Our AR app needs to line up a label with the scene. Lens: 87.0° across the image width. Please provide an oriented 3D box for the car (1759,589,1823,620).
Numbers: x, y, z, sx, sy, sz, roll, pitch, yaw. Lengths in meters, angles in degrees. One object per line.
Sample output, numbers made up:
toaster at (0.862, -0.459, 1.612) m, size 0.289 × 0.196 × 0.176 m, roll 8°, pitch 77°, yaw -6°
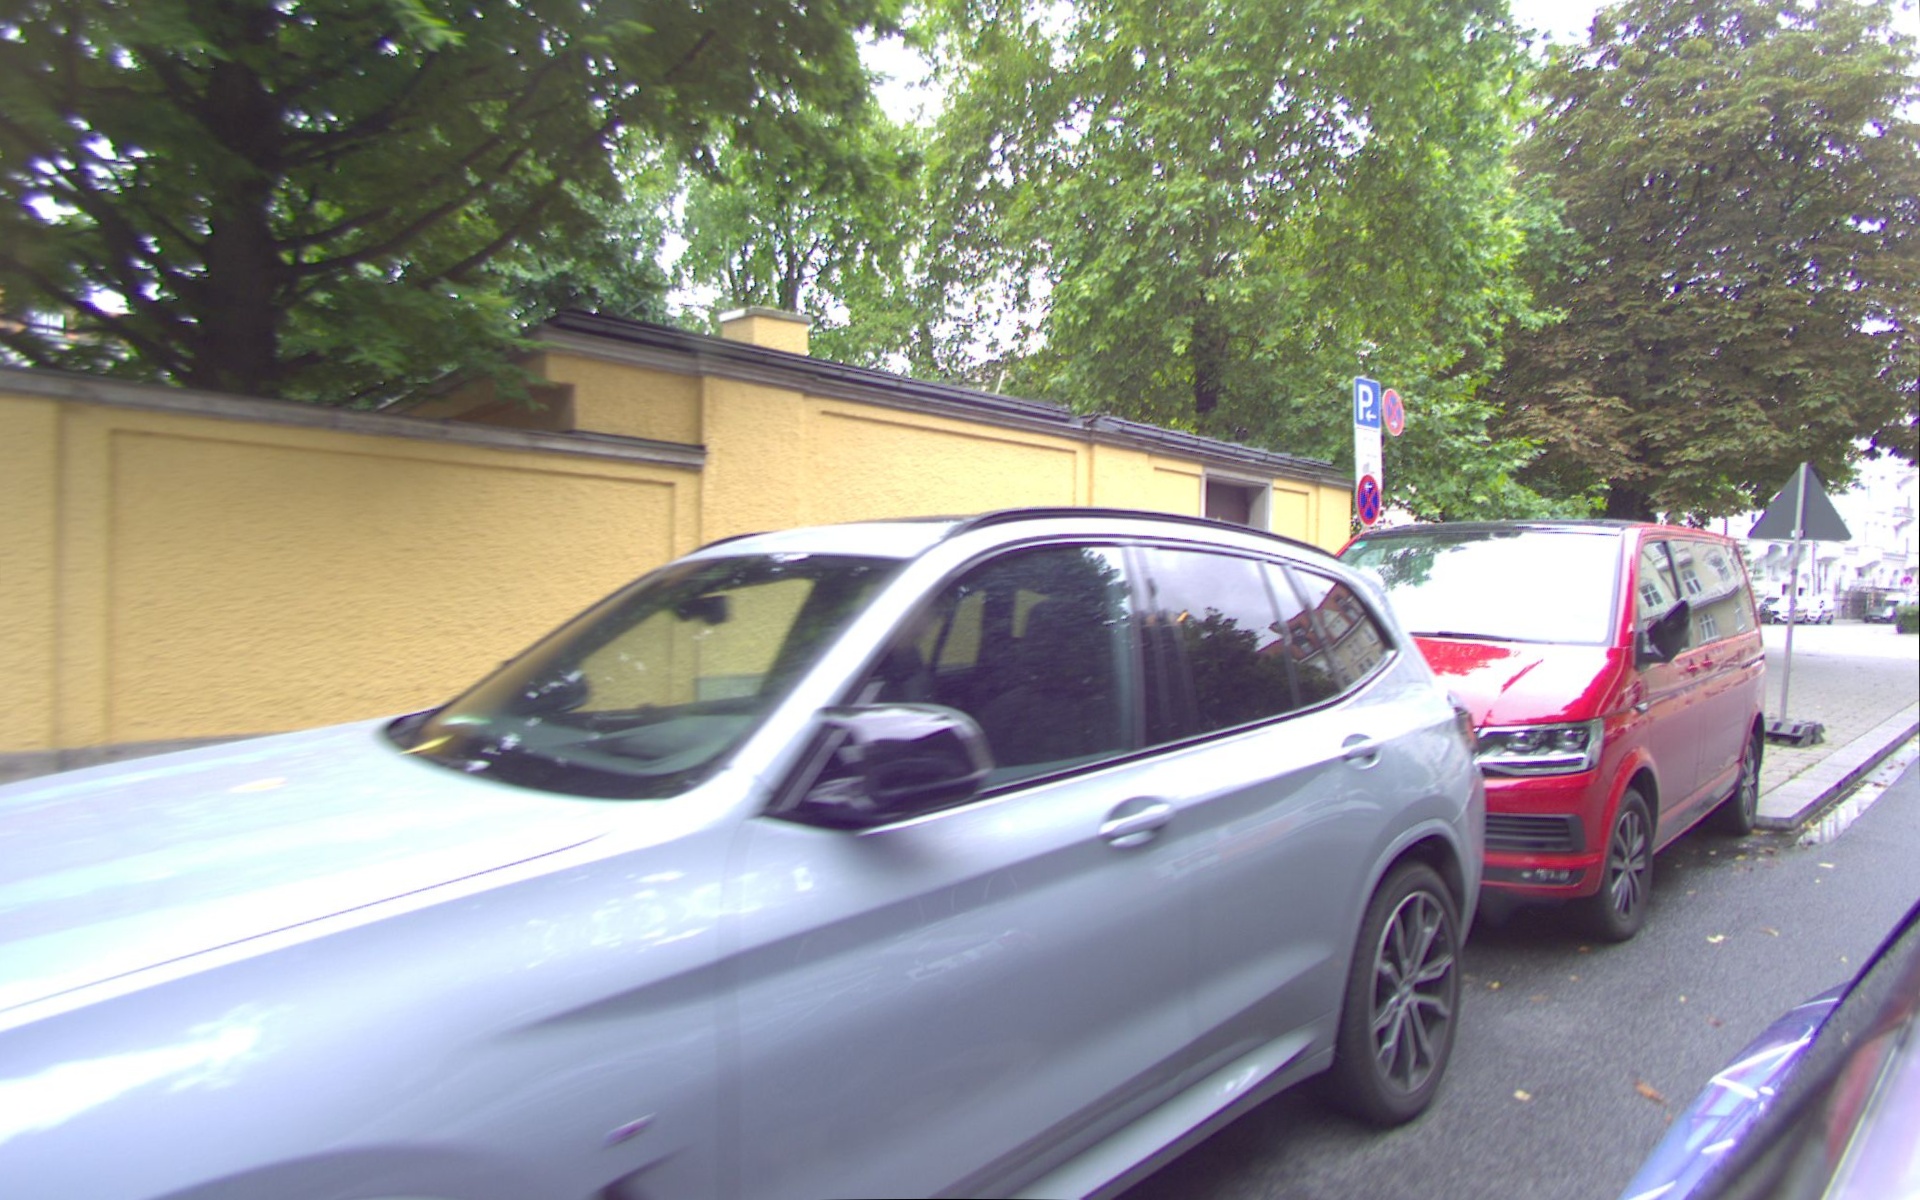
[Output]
car at (57.475, 0.270, 69.960) m, size 4.681 × 1.936 × 2.160 m, roll -1°, pitch 2°, yaw -34°

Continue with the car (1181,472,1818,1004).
car at (3.713, 0.446, 6.301) m, size 5.354 × 1.992 × 1.861 m, roll -1°, pitch 2°, yaw -43°

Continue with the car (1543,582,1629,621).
car at (33.593, 0.081, 54.263) m, size 4.876 × 1.959 × 1.953 m, roll 1°, pitch 2°, yaw -32°

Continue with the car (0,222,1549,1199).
car at (-0.272, 0.549, 2.625) m, size 4.524 × 1.763 × 1.861 m, roll 0°, pitch 0°, yaw -42°

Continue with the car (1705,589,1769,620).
car at (48.895, 0.252, 63.665) m, size 4.220 × 1.841 × 1.797 m, roll -1°, pitch 2°, yaw -32°

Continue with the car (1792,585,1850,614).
car at (62.547, -0.095, 73.493) m, size 4.488 × 1.963 × 2.056 m, roll -1°, pitch 2°, yaw -34°
